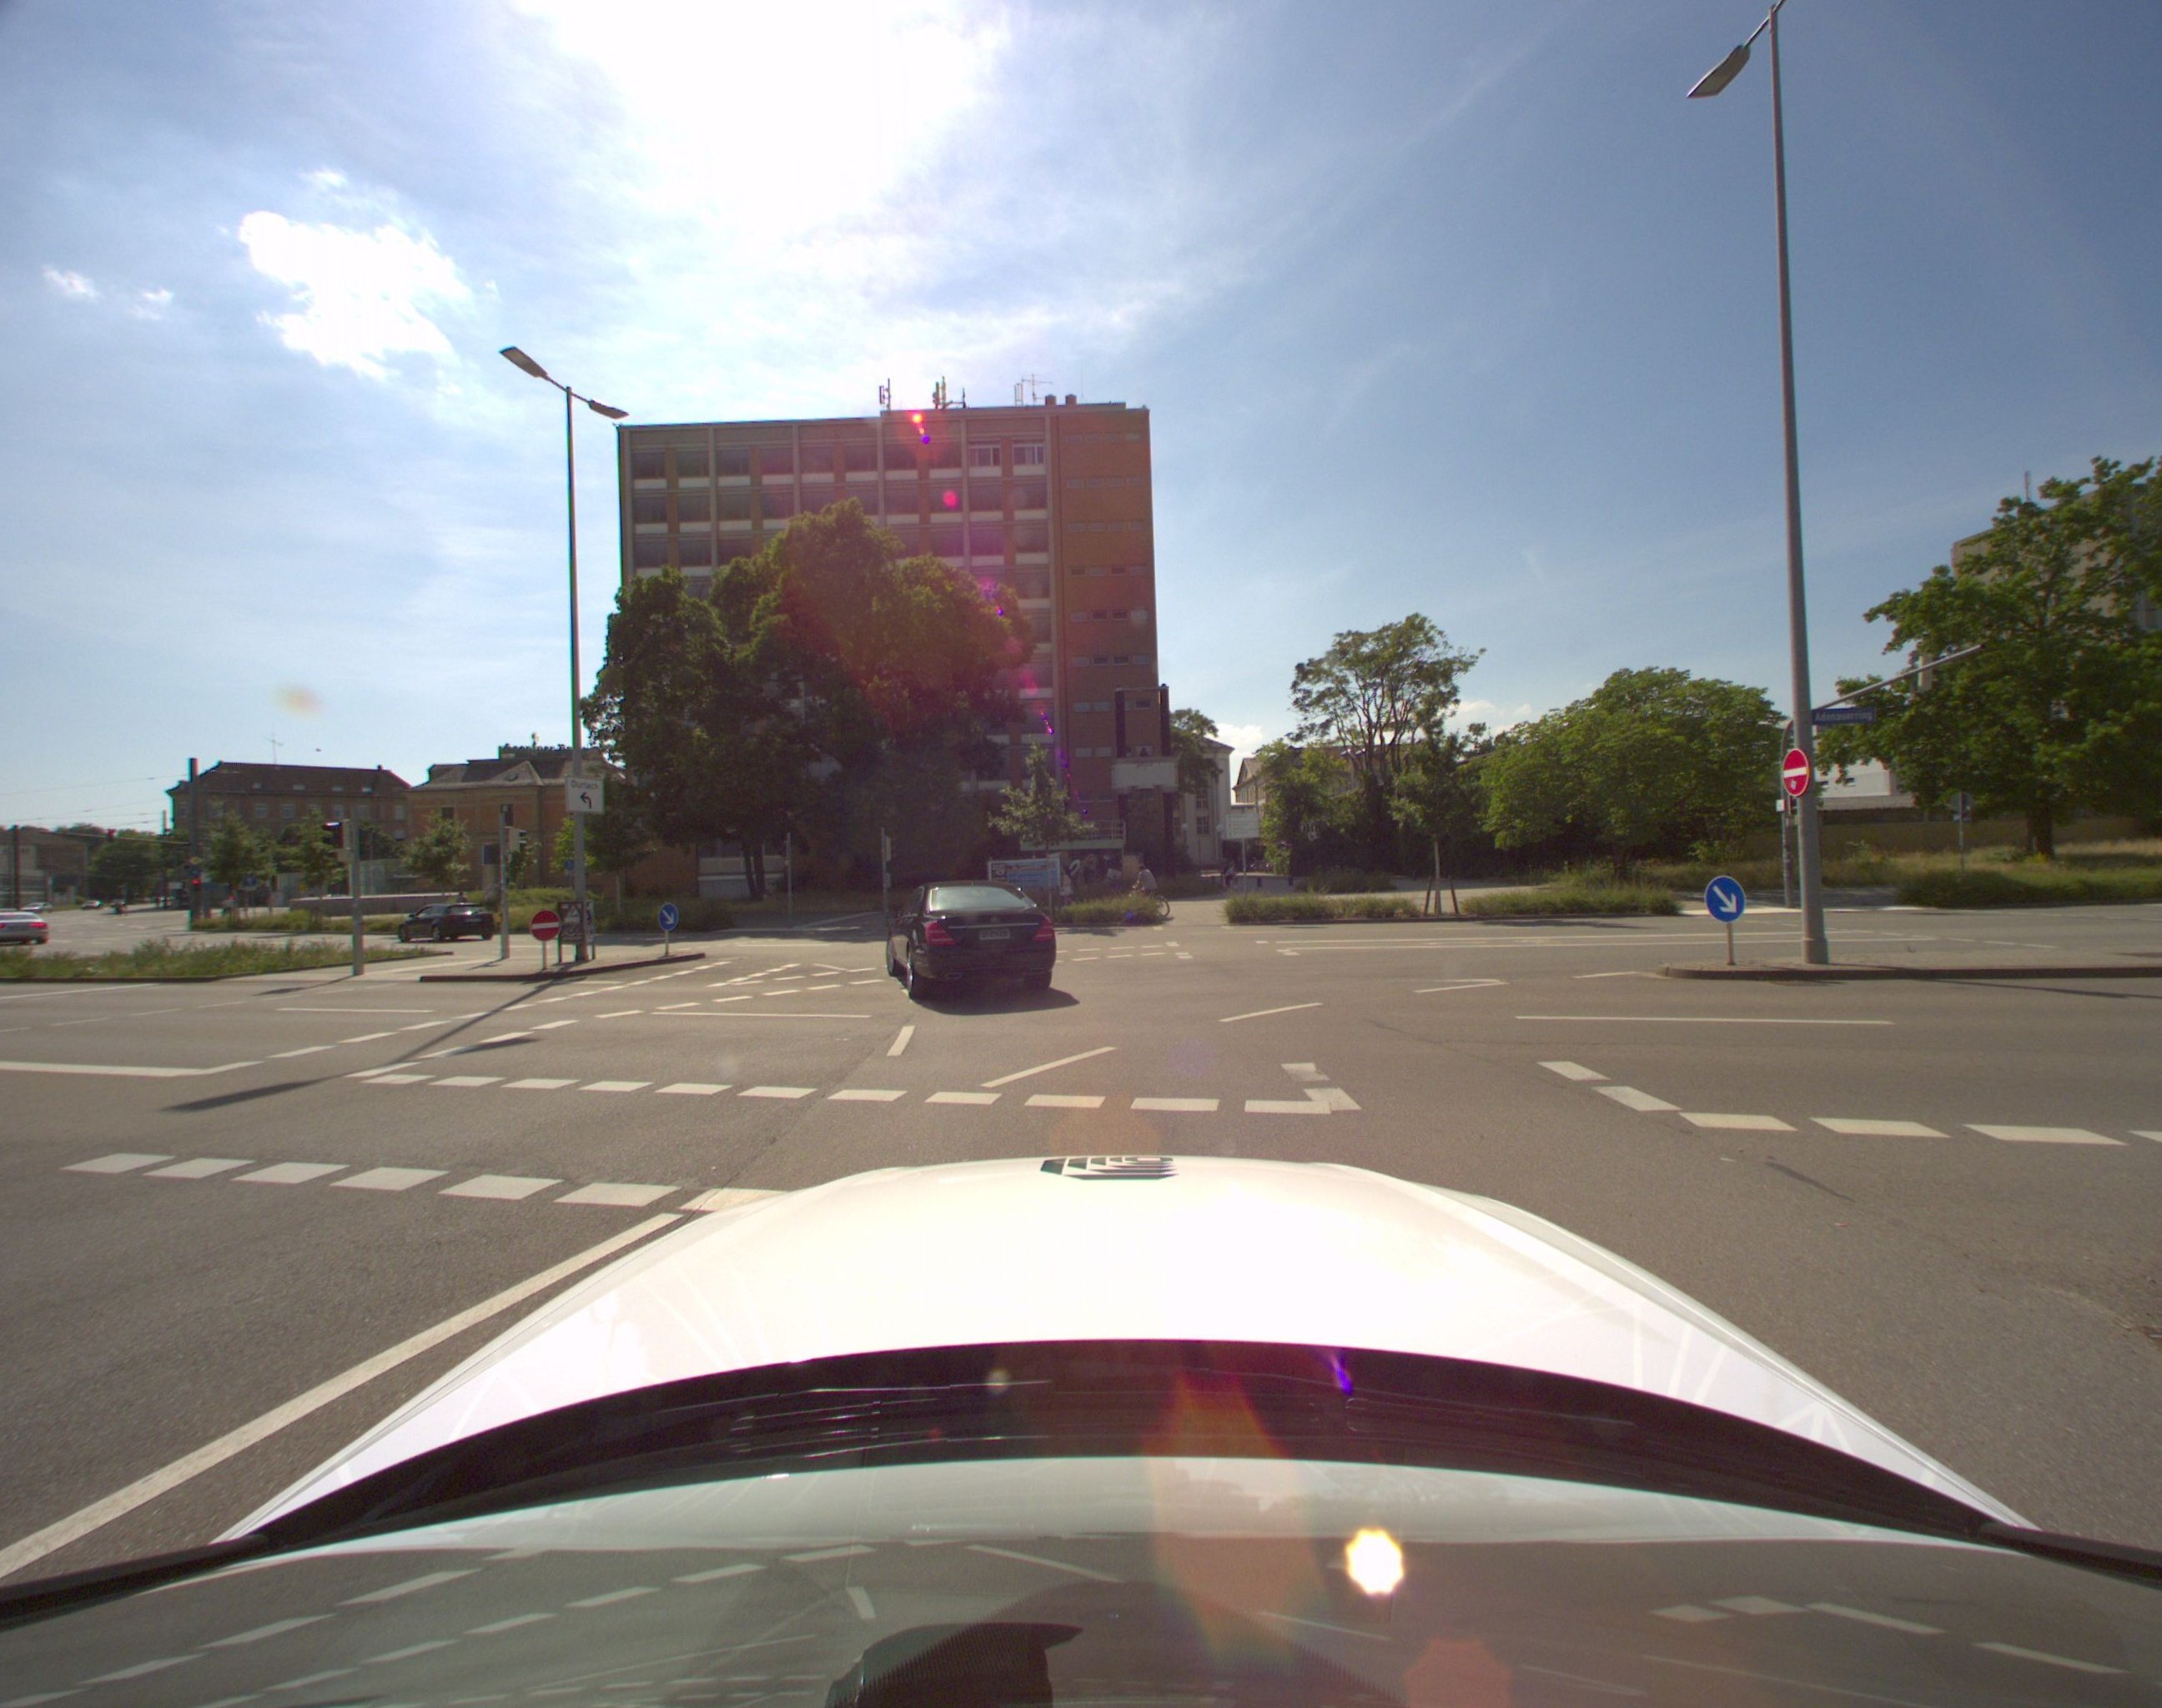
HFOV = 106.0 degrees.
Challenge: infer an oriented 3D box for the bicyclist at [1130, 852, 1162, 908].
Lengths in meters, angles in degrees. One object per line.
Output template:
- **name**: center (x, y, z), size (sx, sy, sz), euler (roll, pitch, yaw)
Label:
- **bicyclist**: center (2.221, 0.879, 28.025), size (0.848, 1.878, 0.692), euler (1, 0, 34)

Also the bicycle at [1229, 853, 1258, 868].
- **bicycle**: center (16.719, 0.657, 83.879), size (2.813, 1.480, 0.842), euler (-3, -1, 1)

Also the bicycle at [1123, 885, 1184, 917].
- **bicycle**: center (2.473, 1.593, 27.806), size (1.933, 0.946, 0.699), euler (0, 4, 34)

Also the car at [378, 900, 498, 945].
- **car**: center (-23.756, 2.520, 30.092), size (3.951, 1.510, 1.810), euler (-3, -2, 24)

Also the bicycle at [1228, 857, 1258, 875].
- **bicycle**: center (15.872, 1.171, 79.836), size (2.813, 1.559, 0.842), euler (-3, -1, 1)

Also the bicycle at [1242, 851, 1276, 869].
- **bicycle**: center (16.357, 0.540, 74.861), size (2.813, 1.587, 0.842), euler (-3, -1, 1)

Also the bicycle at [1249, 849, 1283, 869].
- **bicycle**: center (16.470, 0.489, 72.583), size (2.813, 1.649, 0.842), euler (-3, -1, 1)

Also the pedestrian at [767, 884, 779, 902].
- **pedestrian**: center (-15.849, 2.016, 41.939), size (0.425, 0.892, 0.394), euler (-2, -1, 11)

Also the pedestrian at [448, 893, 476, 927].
- **pedestrian**: center (-32.812, 2.947, 43.172), size (0.790, 1.725, 0.878), euler (-3, -2, 25)

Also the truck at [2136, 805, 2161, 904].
- **truck**: center (29.303, -0.164, 18.571), size (6.997, 2.356, 2.414), euler (-3, -2, 2)

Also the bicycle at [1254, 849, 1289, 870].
- **bicycle**: center (16.649, 0.492, 71.324), size (2.813, 1.744, 0.842), euler (-3, -1, 1)

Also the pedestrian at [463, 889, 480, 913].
- **pedestrian**: center (-44.458, 3.441, 59.410), size (0.644, 1.661, 0.652), euler (-2, -2, 10)

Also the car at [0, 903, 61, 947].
- **car**: center (-48.465, 3.200, 36.800), size (3.951, 1.816, 2.011), euler (-3, -1, 24)

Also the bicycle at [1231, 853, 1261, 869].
- **bicycle**: center (16.616, 0.673, 82.096), size (2.813, 1.500, 0.842), euler (-3, -1, 1)

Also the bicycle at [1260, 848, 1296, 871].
- **bicycle**: center (16.698, 0.445, 69.062), size (2.813, 1.836, 0.842), euler (-3, -1, 1)

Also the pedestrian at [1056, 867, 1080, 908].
- **pedestrian**: center (-0.498, 1.319, 32.065), size (0.807, 1.579, 0.693), euler (-2, -1, 4)

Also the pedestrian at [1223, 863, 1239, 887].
- **pedestrian**: center (7.647, 1.058, 41.594), size (0.788, 1.214, 0.759), euler (0, -1, 9)

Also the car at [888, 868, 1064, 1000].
- **car**: center (-1.758, 1.062, 12.020), size (1.863, 1.530, 4.686), euler (1, -3, -16)

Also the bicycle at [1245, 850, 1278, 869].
- **bicycle**: center (16.357, 0.496, 73.792), size (2.813, 1.659, 0.842), euler (-3, 1, 1)

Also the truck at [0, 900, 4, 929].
- **truck**: center (-137.845, 7.666, 100.022), size (3.077, 3.730, 7.869), euler (-2, -1, -22)
